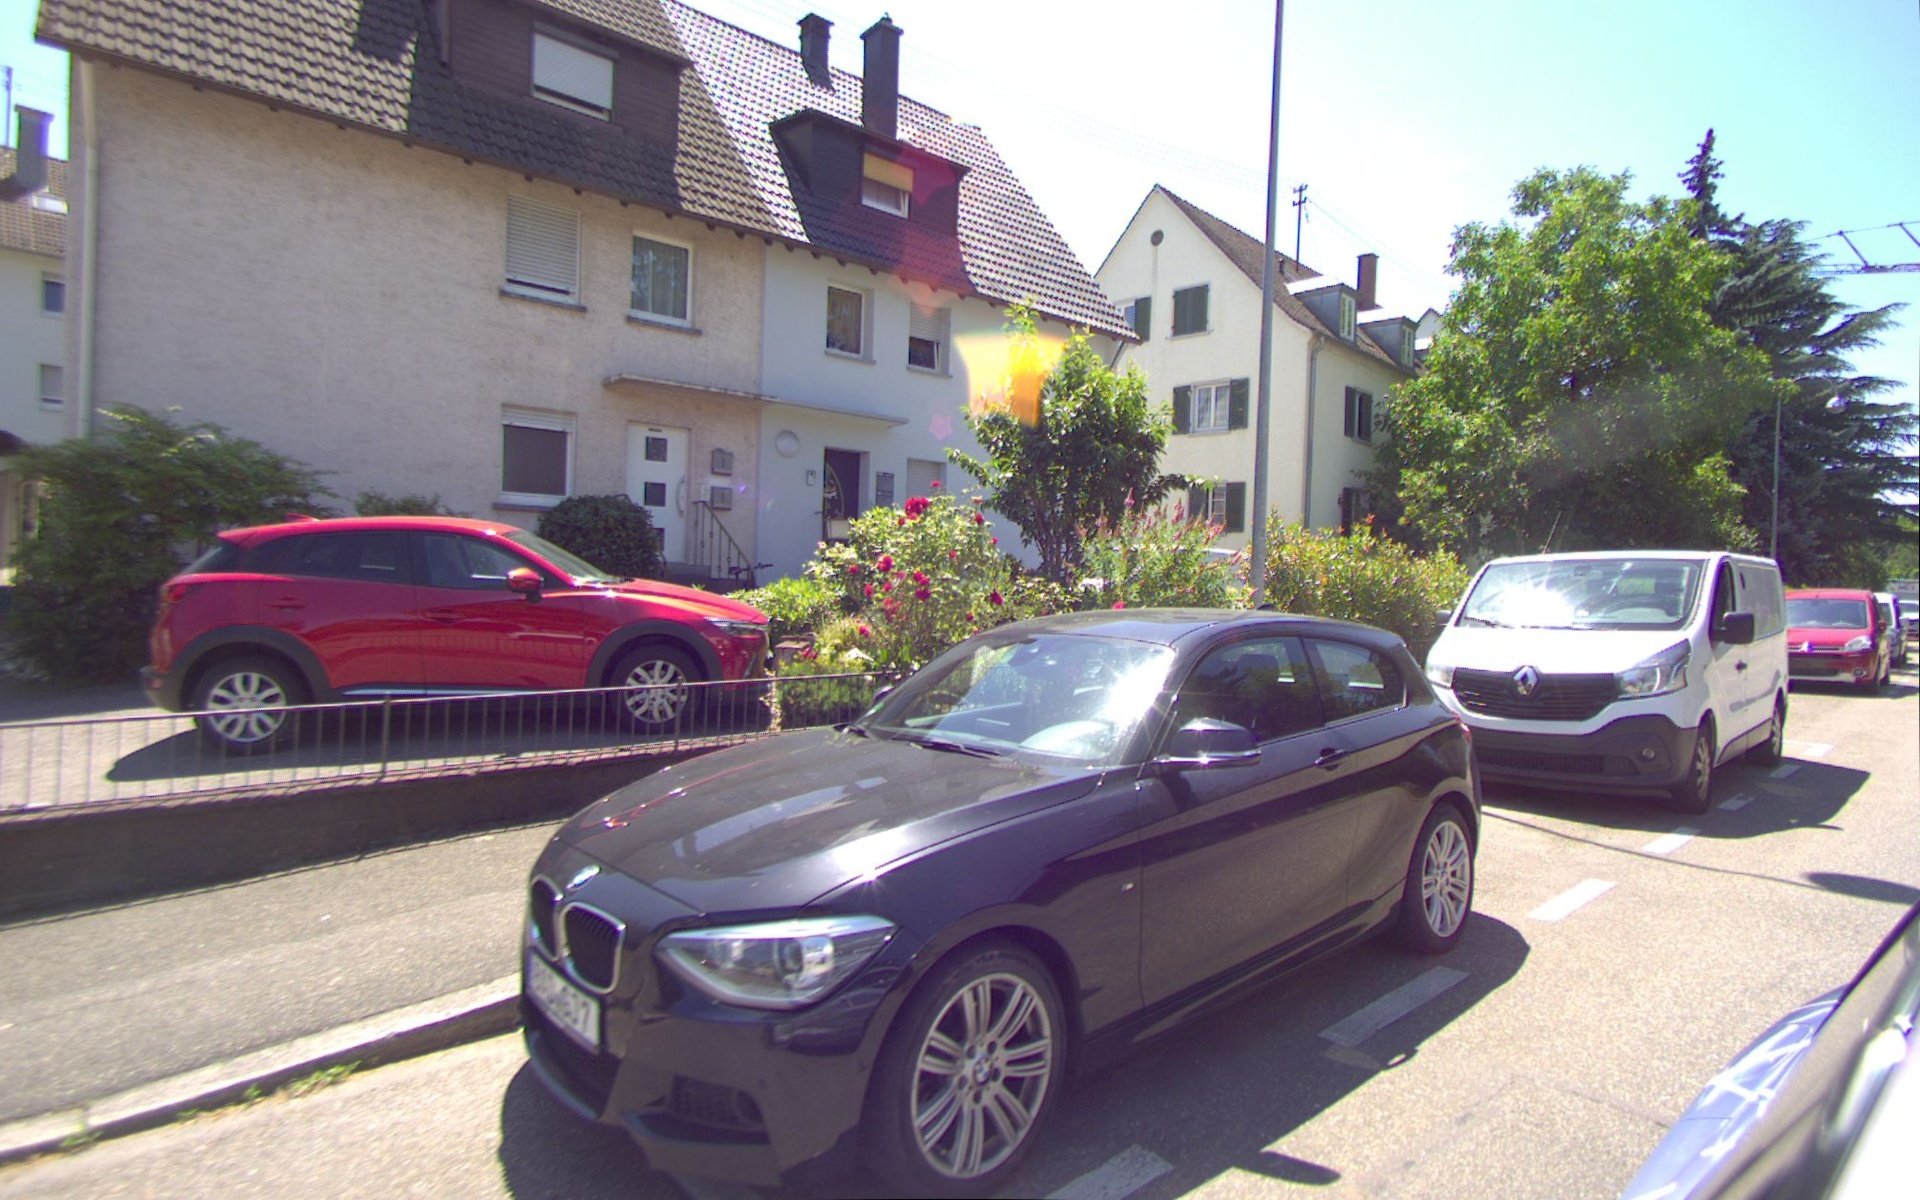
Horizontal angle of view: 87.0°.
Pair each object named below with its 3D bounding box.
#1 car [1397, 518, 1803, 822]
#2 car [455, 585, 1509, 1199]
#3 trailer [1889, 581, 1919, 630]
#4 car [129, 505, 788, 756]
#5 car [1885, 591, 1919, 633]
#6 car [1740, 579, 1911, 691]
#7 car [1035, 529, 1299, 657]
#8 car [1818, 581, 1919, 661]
[{"bbox_3d":[5.735,0.443,8.780,4.639,1.949,1.905,0,0,-43],"label":"car"},{"bbox_3d":[0.440,0.687,3.845,3.931,1.415,1.659,0,1,-42],"label":"car"},{"bbox_3d":[43.133,0.218,45.681,1.679,2.094,3.650,-1,1,43],"label":"trailer"},{"bbox_3d":[-3.405,0.075,7.607,3.966,1.552,1.750,-1,4,-16],"label":"car"},{"bbox_3d":[39.550,0.487,41.903,1.771,1.653,4.531,0,-1,43],"label":"car"},{"bbox_3d":[15.444,0.537,17.983,4.319,1.750,1.904,0,0,-44],"label":"car"},{"bbox_3d":[3.537,-0.093,17.003,4.314,1.879,1.752,2,3,-35],"label":"car"},{"bbox_3d":[22.655,0.465,25.053,4.468,1.805,1.747,0,0,-45],"label":"car"}]
